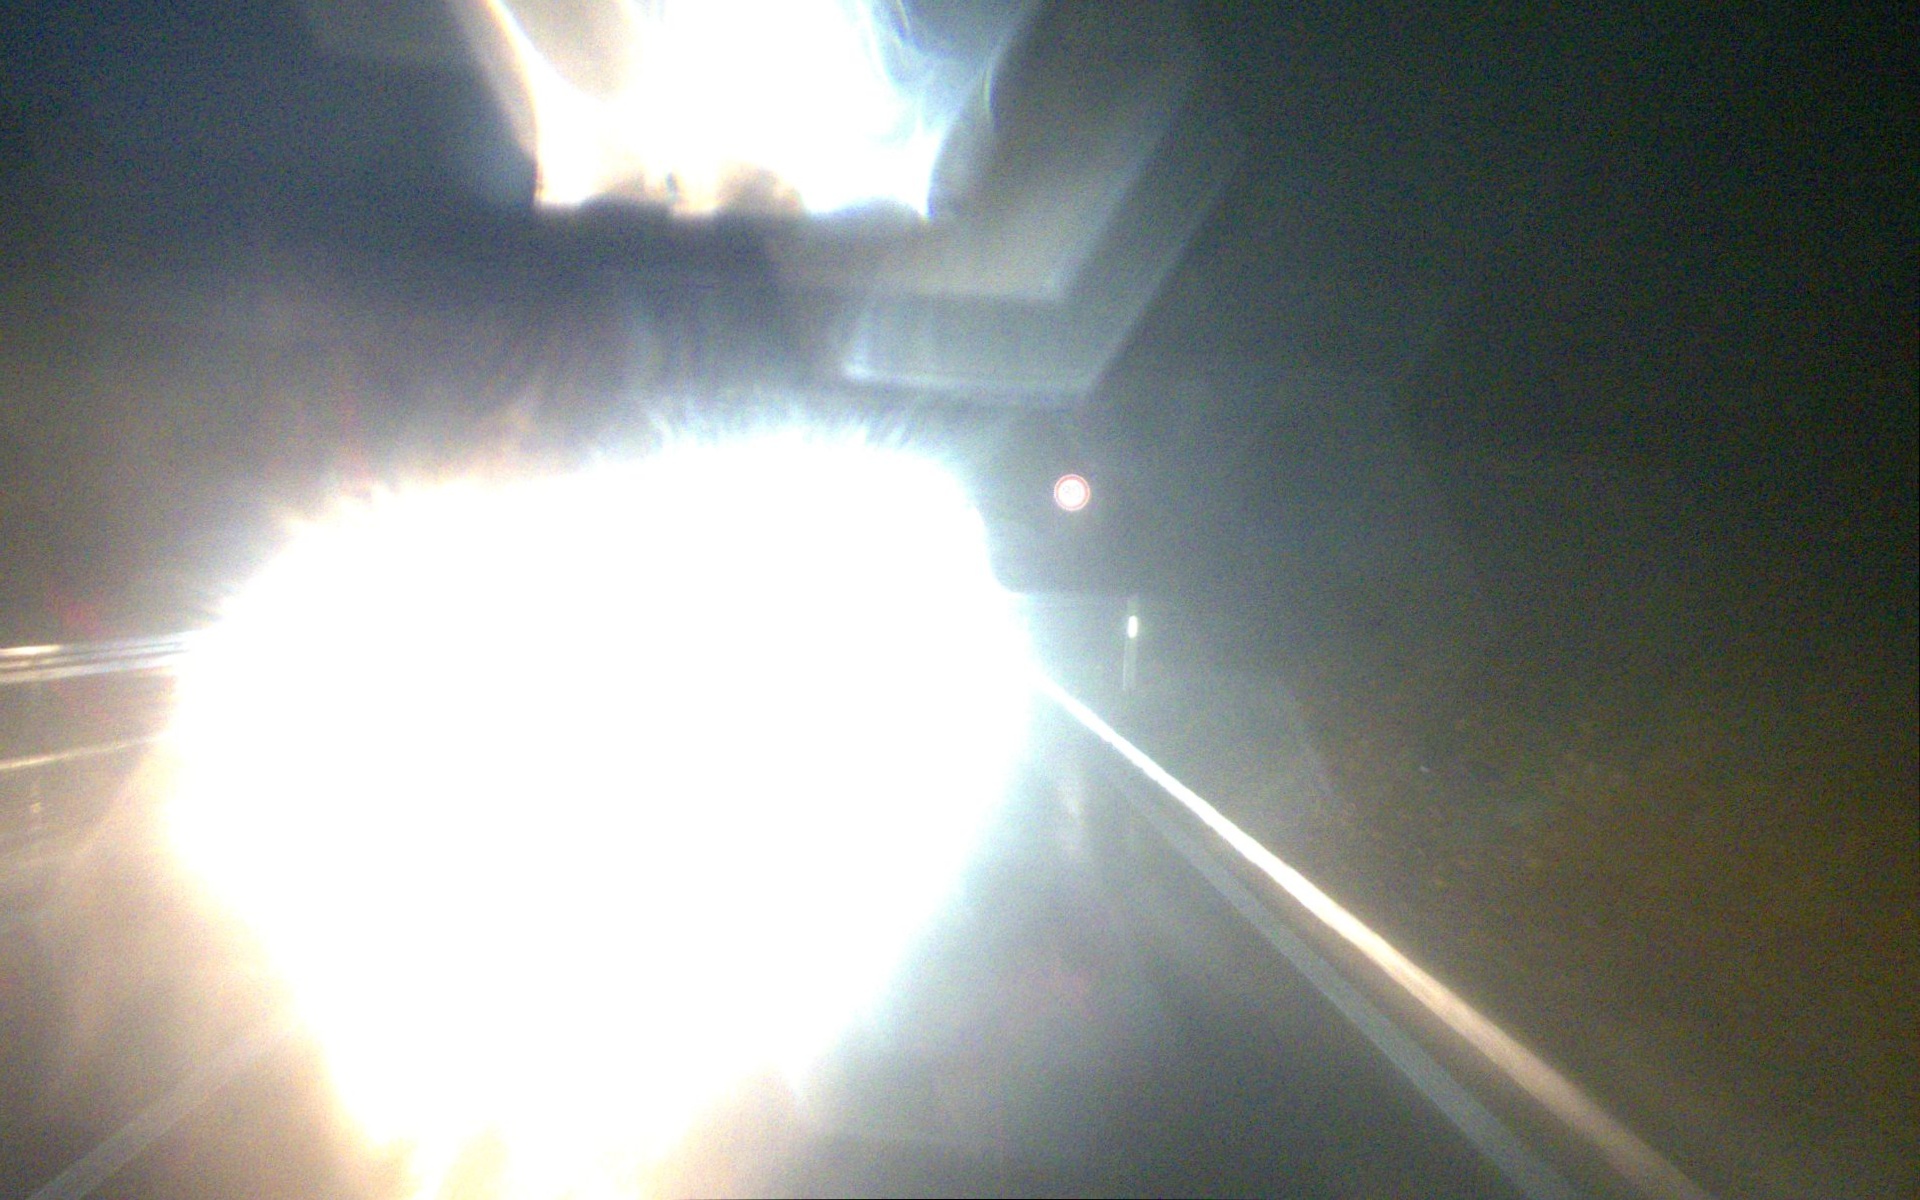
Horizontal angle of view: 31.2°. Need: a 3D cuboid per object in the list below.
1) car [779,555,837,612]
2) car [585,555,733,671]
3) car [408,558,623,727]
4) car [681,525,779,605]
[{"bbox_3d":[-5.427,-0.582,123.001,1.779,1.873,3.999,-4,0,0],"label":"car"},{"bbox_3d":[-4.670,0.207,53.896,1.888,1.629,4.391,-4,0,-1],"label":"car"},{"bbox_3d":[-4.259,0.360,33.431,1.700,1.462,4.042,-1,1,-2],"label":"car"},{"bbox_3d":[-5.136,-0.761,77.277,2.039,1.602,3.999,-4,0,-3],"label":"car"}]
